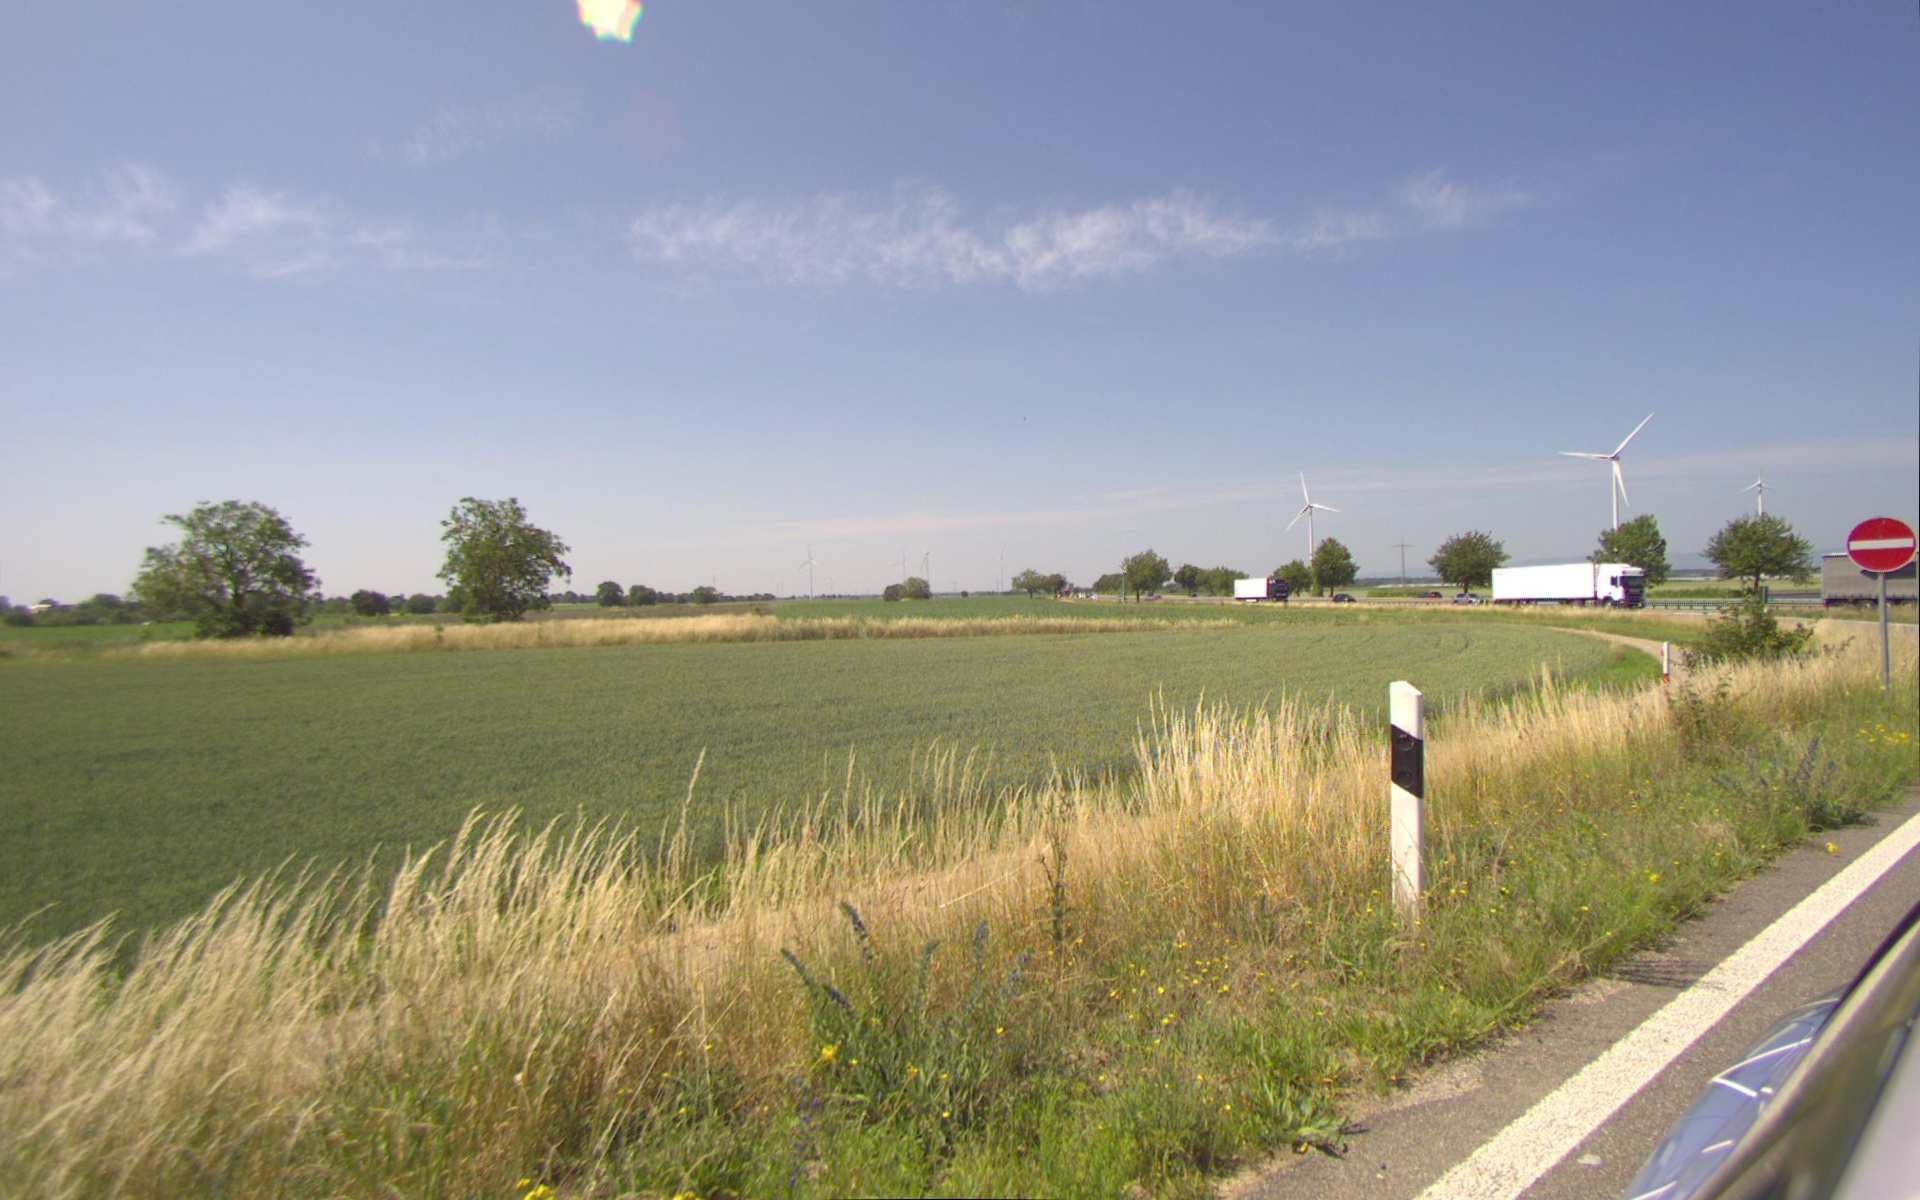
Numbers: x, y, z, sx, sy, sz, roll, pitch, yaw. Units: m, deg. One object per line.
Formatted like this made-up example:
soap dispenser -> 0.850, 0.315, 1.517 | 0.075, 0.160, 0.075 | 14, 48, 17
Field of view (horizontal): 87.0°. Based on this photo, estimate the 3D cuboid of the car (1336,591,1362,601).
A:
car -> 54.081, -0.610, 140.718 | 1.648, 1.371, 4.005 | 0, 1, -6

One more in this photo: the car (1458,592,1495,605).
car -> 56.338, -0.158, 110.477 | 1.647, 1.371, 4.006 | 0, 1, -8

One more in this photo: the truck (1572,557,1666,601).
truck -> 55.598, -1.762, 85.565 | 3.051, 3.562, 6.465 | 0, 0, -9

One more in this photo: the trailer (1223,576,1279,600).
trailer -> 47.059, -1.942, 164.308 | 3.039, 3.690, 14.536 | 0, 1, -8

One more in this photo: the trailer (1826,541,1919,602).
trailer -> 60.052, -1.733, 60.850 | 3.041, 3.690, 13.819 | 0, 0, -5

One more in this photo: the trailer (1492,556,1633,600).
trailer -> 54.564, -1.910, 92.372 | 3.039, 3.690, 13.676 | 0, 0, -8

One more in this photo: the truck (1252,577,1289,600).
truck -> 48.174, -1.798, 156.998 | 3.051, 3.562, 6.246 | 0, 0, -9
